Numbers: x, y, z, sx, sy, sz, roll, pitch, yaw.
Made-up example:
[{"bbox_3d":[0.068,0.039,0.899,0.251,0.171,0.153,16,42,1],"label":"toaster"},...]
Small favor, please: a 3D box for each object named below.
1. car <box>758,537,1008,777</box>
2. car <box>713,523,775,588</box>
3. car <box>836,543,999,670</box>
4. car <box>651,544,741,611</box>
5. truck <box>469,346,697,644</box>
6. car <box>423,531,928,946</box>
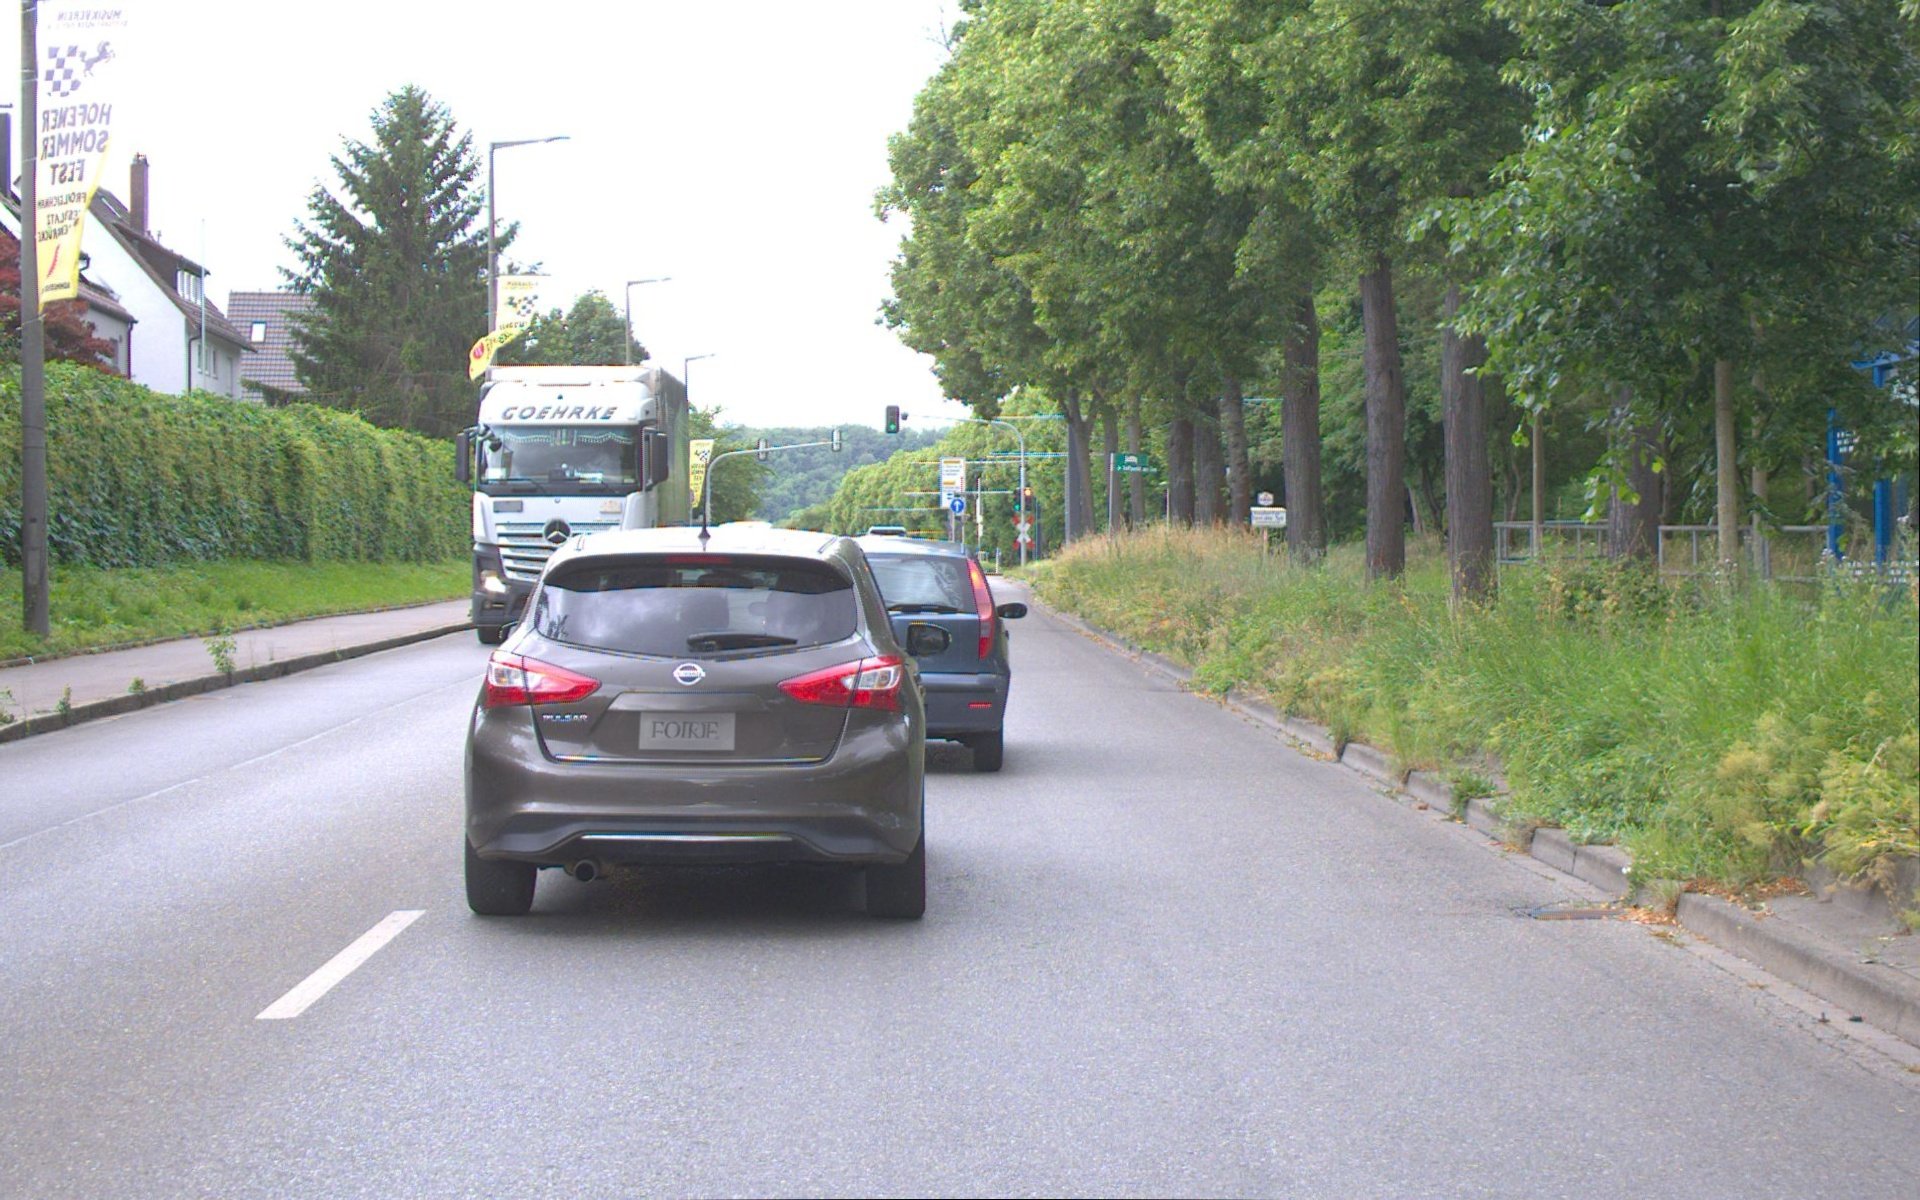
[{"bbox_3d":[-0.503,0.318,23.113,1.538,1.473,3.764,0,1,-1],"label":"car"},{"bbox_3d":[-6.849,-1.436,109.277,1.906,1.925,4.912,-1,2,-3],"label":"car"},{"bbox_3d":[-0.499,0.038,39.937,1.792,1.392,4.000,0,1,-1],"label":"car"},{"bbox_3d":[-5.731,-0.518,74.938,1.732,1.370,4.240,-1,1,-2],"label":"car"},{"bbox_3d":[-5.617,-1.511,52.876,2.549,4.030,10.621,-2,1,-2],"label":"truck"},{"bbox_3d":[-1.068,0.460,14.770,1.835,1.514,4.483,0,1,-1],"label":"car"}]
